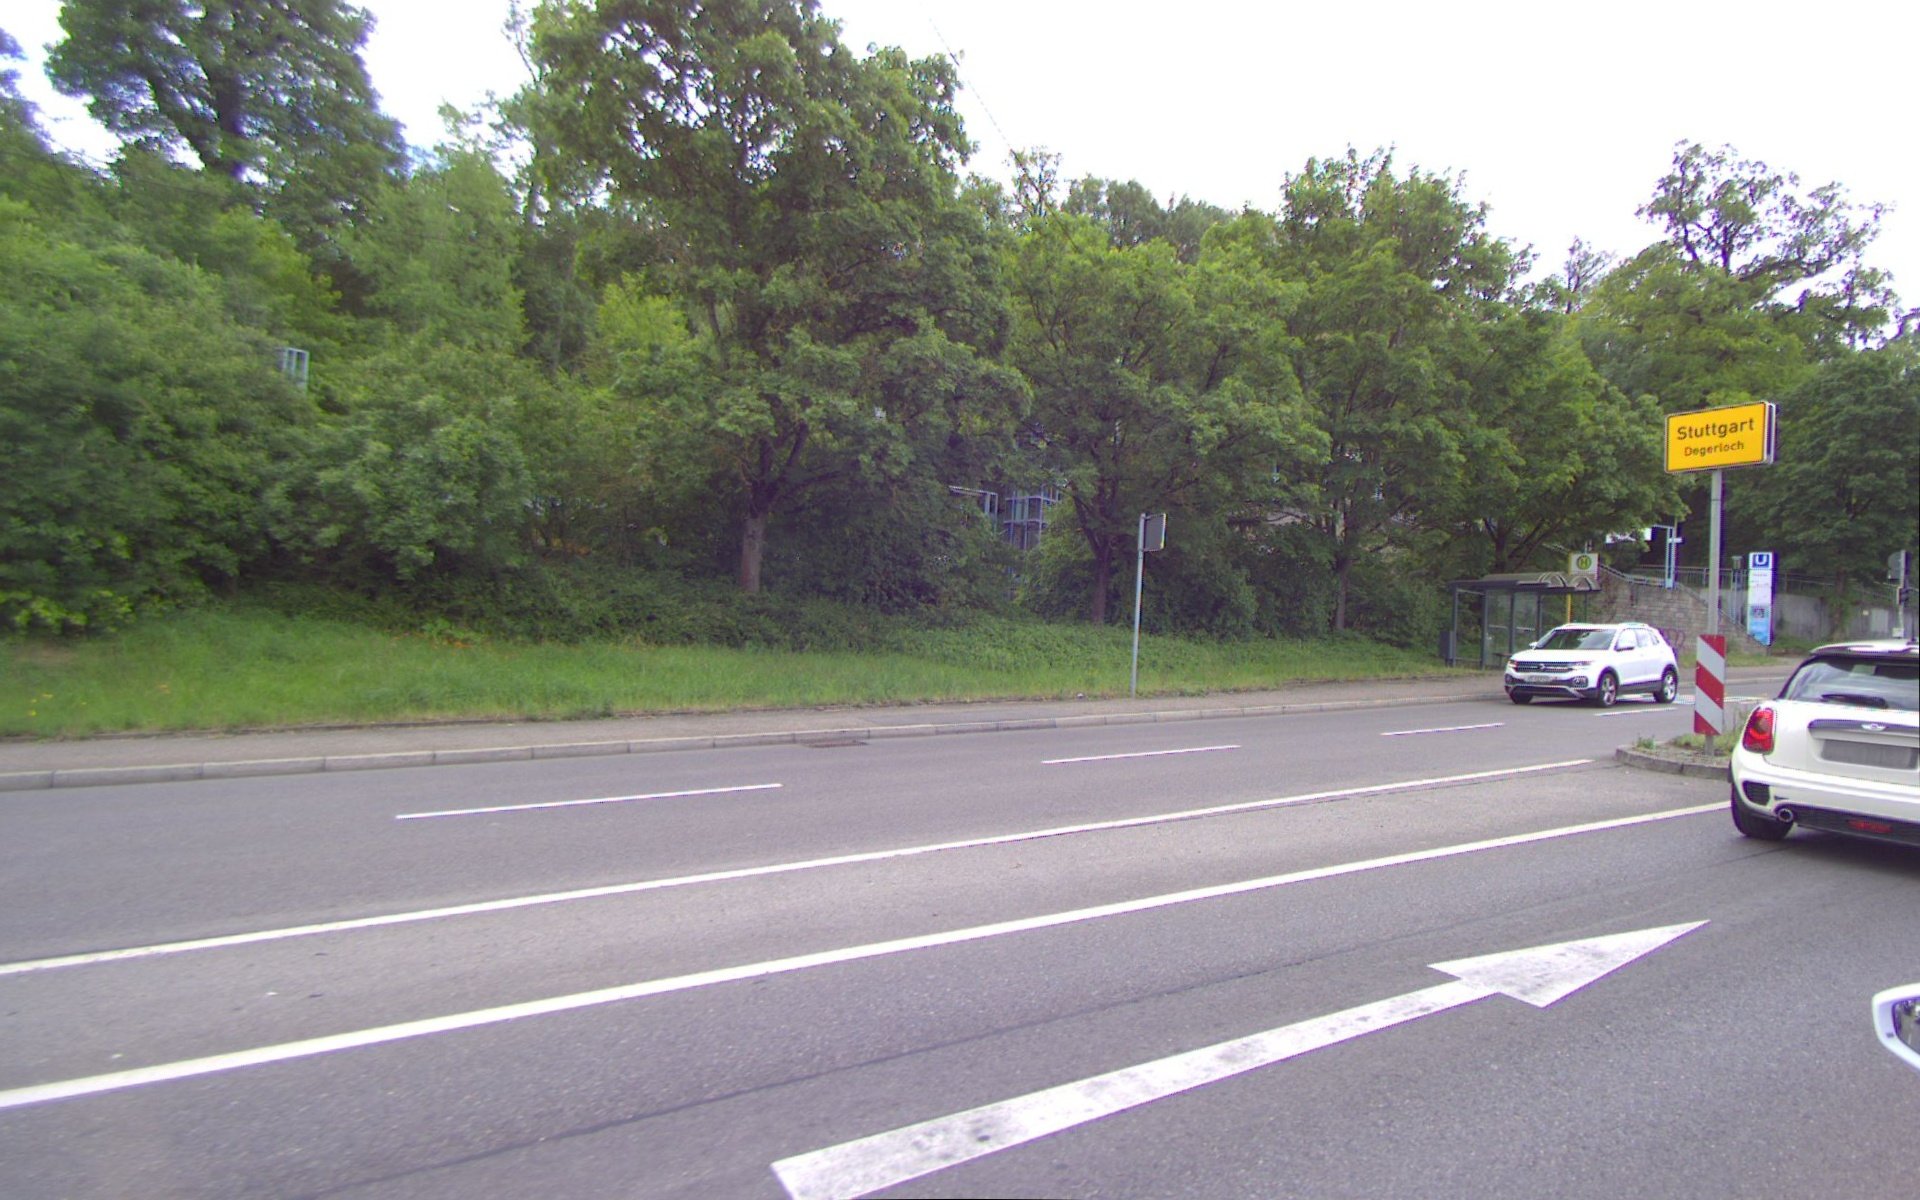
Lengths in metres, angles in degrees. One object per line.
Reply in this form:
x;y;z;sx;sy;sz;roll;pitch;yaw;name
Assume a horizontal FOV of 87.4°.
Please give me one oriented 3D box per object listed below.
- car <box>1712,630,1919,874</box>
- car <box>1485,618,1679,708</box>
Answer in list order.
7.036;0.939;6.945;3.521;1.412;1.621;2;-1;-28;car
12.217;1.183;19.676;4.001;1.561;1.718;2;0;-34;car
